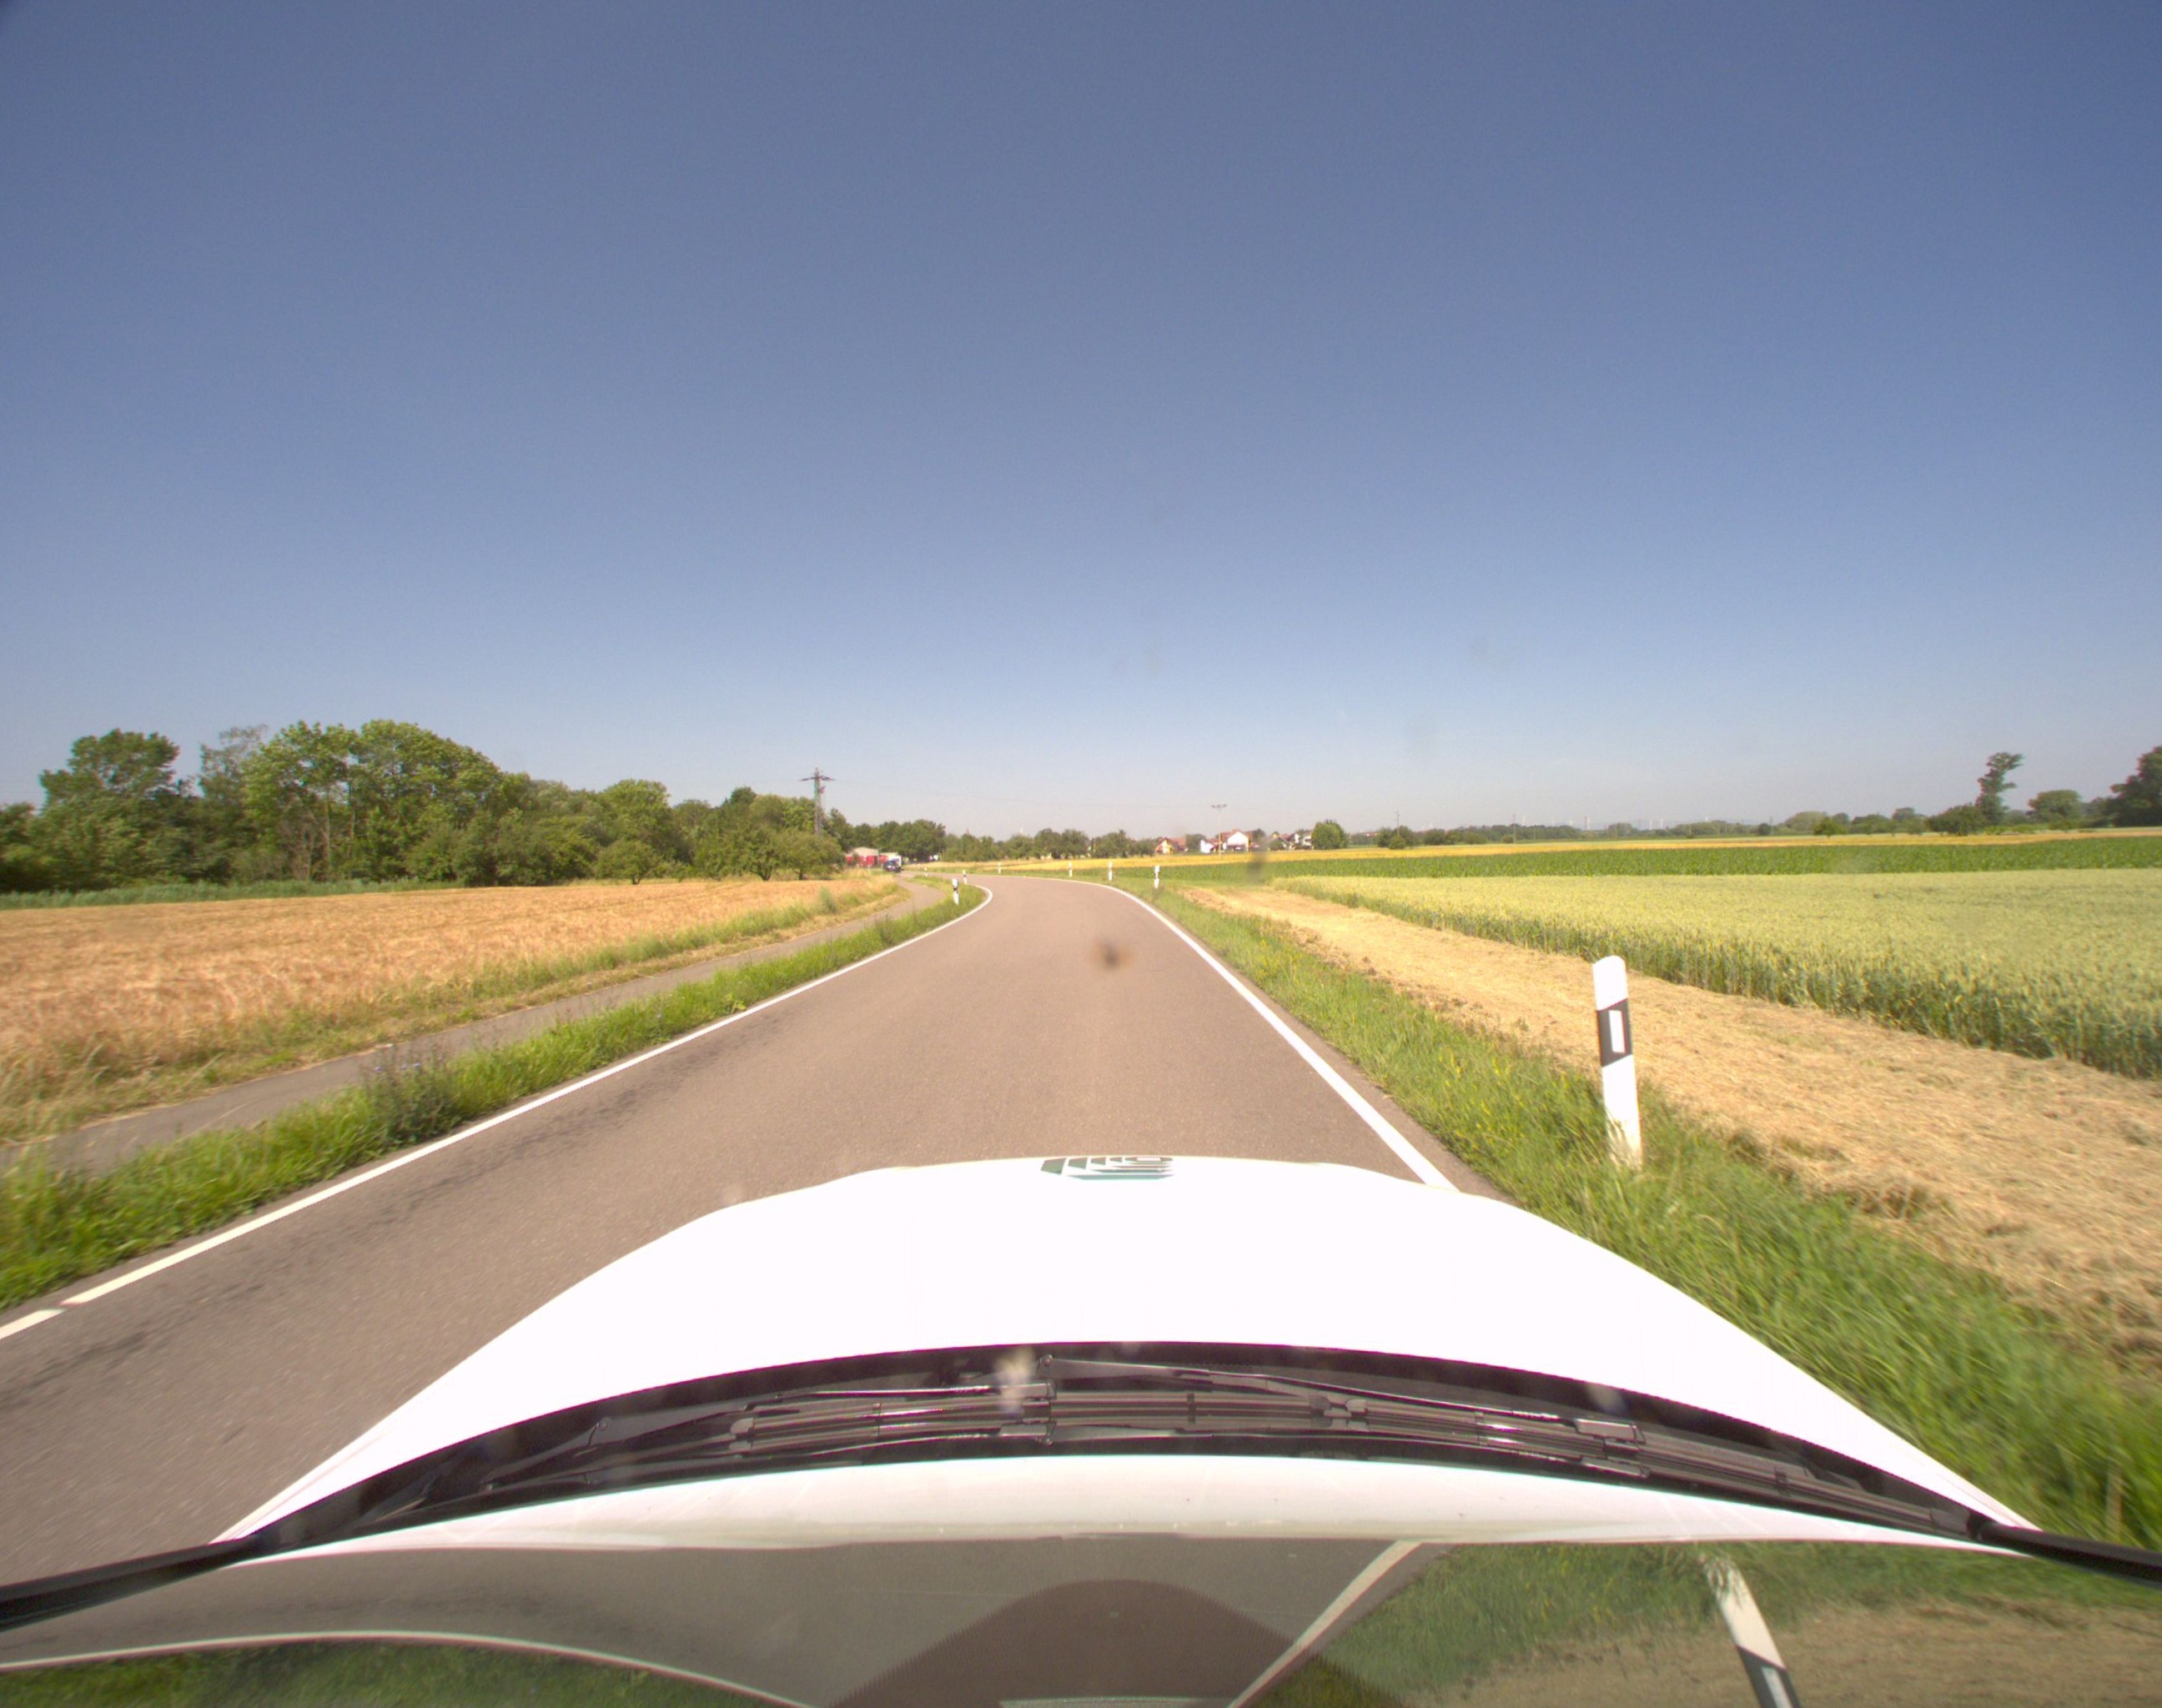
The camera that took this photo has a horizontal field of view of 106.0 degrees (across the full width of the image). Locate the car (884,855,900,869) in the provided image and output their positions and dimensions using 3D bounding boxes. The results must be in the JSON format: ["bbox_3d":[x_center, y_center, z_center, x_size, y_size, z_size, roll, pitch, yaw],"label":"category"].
[{"bbox_3d":[-31.341,1.342,135.264,2.000,2.266,4.695,-2,0,-20],"label":"car"}]

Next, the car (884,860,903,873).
[{"bbox_3d":[-25.599,1.677,111.032,1.894,1.714,3.985,-3,0,-21],"label":"car"}]
